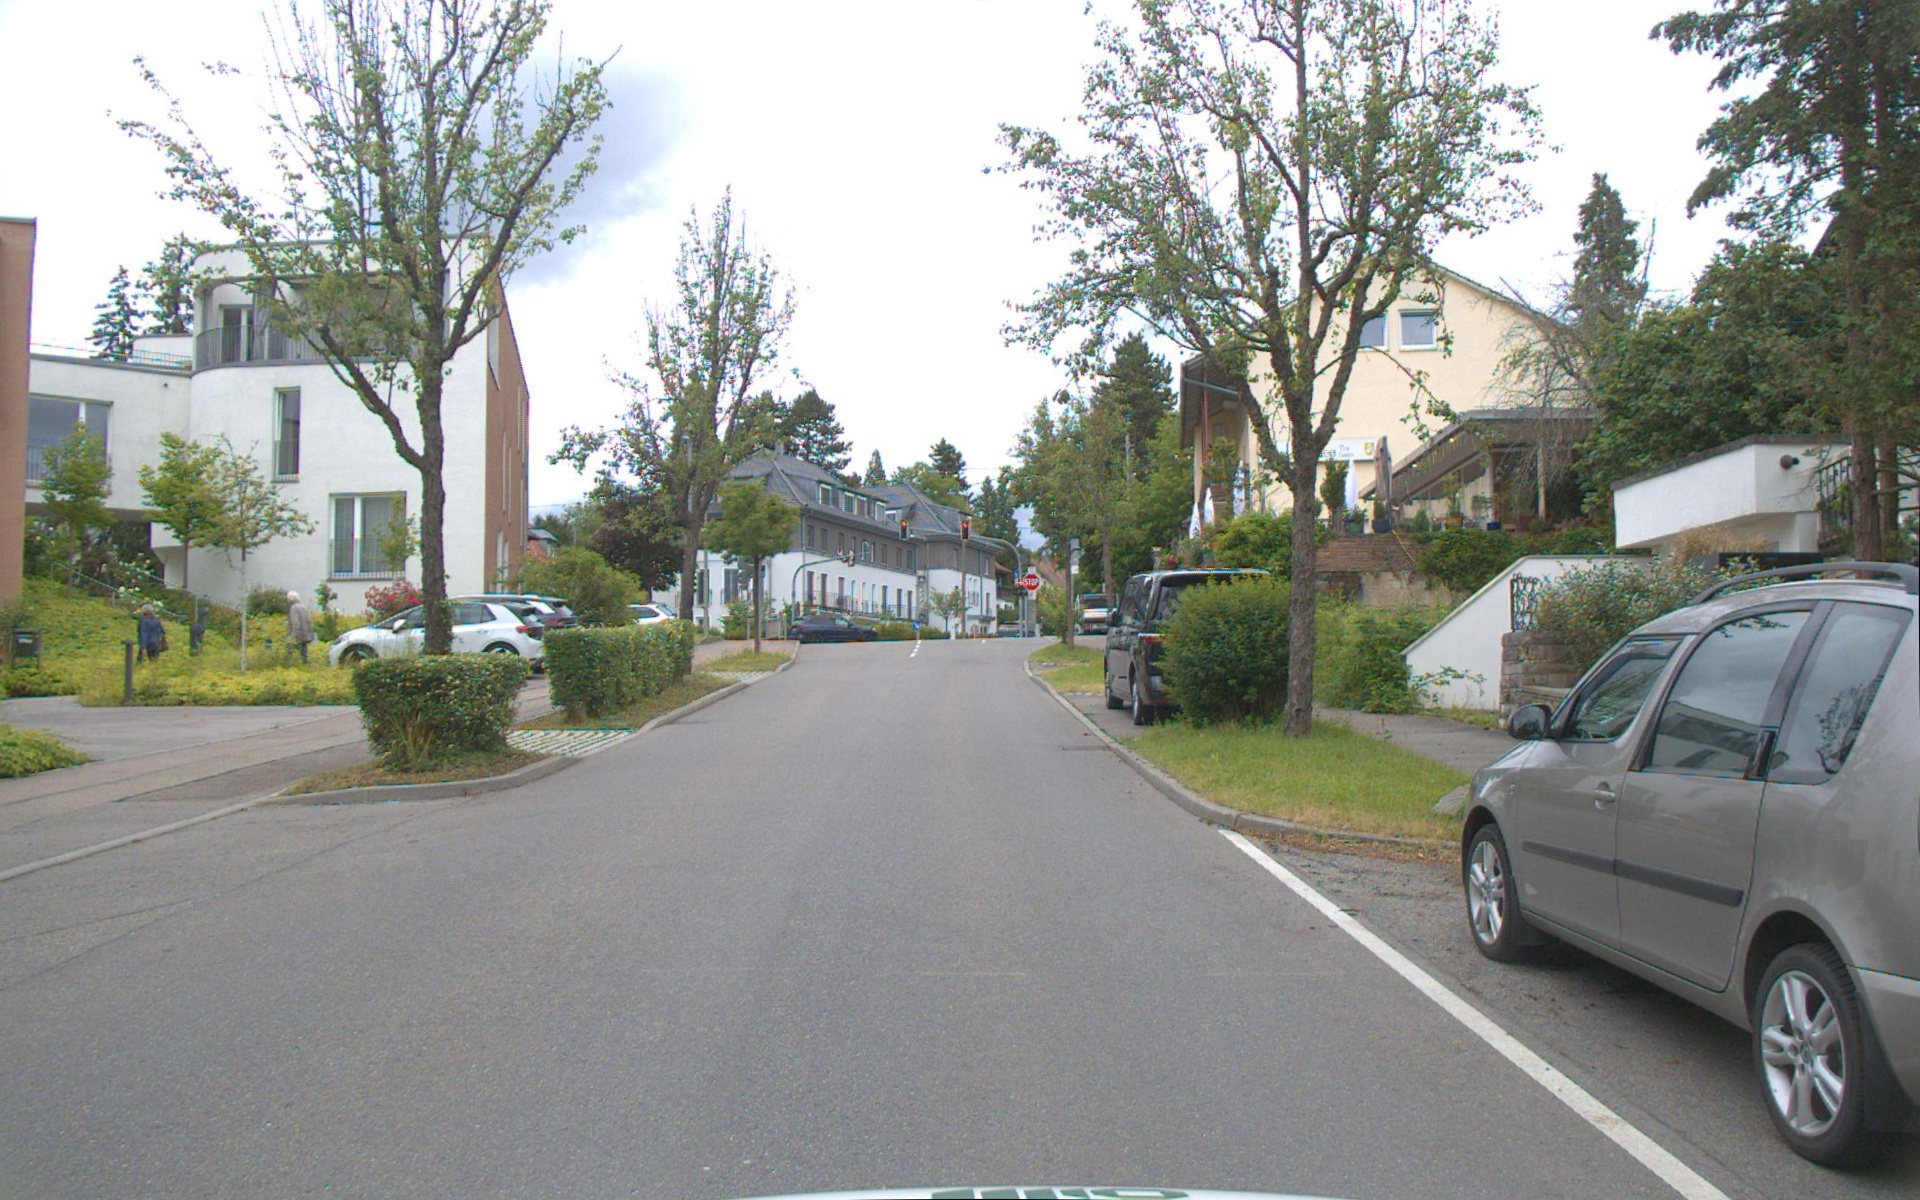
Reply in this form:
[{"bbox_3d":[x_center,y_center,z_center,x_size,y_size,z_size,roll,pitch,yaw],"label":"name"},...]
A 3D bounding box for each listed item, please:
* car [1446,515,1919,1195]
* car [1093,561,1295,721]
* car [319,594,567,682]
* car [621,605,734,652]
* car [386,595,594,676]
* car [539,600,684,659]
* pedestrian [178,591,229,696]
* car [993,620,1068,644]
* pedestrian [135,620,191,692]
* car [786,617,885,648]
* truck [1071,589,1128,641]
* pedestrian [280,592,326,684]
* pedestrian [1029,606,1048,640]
[{"bbox_3d":[3.169,0.640,5.853,1.682,1.661,3.928,1,0,-1],"label":"car"},{"bbox_3d":[2.984,0.492,22.214,1.897,1.870,5.218,-1,0,-1],"label":"car"},{"bbox_3d":[-10.293,0.735,33.198,4.299,1.594,2.065,-2,0,-3],"label":"car"},{"bbox_3d":[-9.656,0.962,56.713,3.688,1.490,1.729,-2,0,-7],"label":"car"},{"bbox_3d":[-10.100,0.740,35.786,3.905,1.682,2.008,0,0,0],"label":"car"},{"bbox_3d":[-10.903,0.933,52.018,4.176,1.651,2.012,-2,-1,-4],"label":"car"},{"bbox_3d":[-12.504,0.718,27.355,0.577,1.711,0.519,-1,0,0],"label":"pedestrian"},{"bbox_3d":[4.119,1.853,96.463,3.949,1.310,1.978,1,0,-33],"label":"car"},{"bbox_3d":[-14.896,1.041,30.929,0.594,1.305,0.899,0,0,-1],"label":"pedestrian"},{"bbox_3d":[-6.375,1.663,85.009,4.645,1.517,2.140,0,0,-29],"label":"car"},{"bbox_3d":[6.784,0.764,80.962,2.139,2.234,5.878,-1,-3,-1],"label":"truck"},{"bbox_3d":[-12.226,0.704,30.794,0.581,1.669,0.565,-2,0,0],"label":"pedestrian"},{"bbox_3d":[4.023,1.191,84.715,0.694,1.711,0.675,-1,-1,-41],"label":"pedestrian"}]
